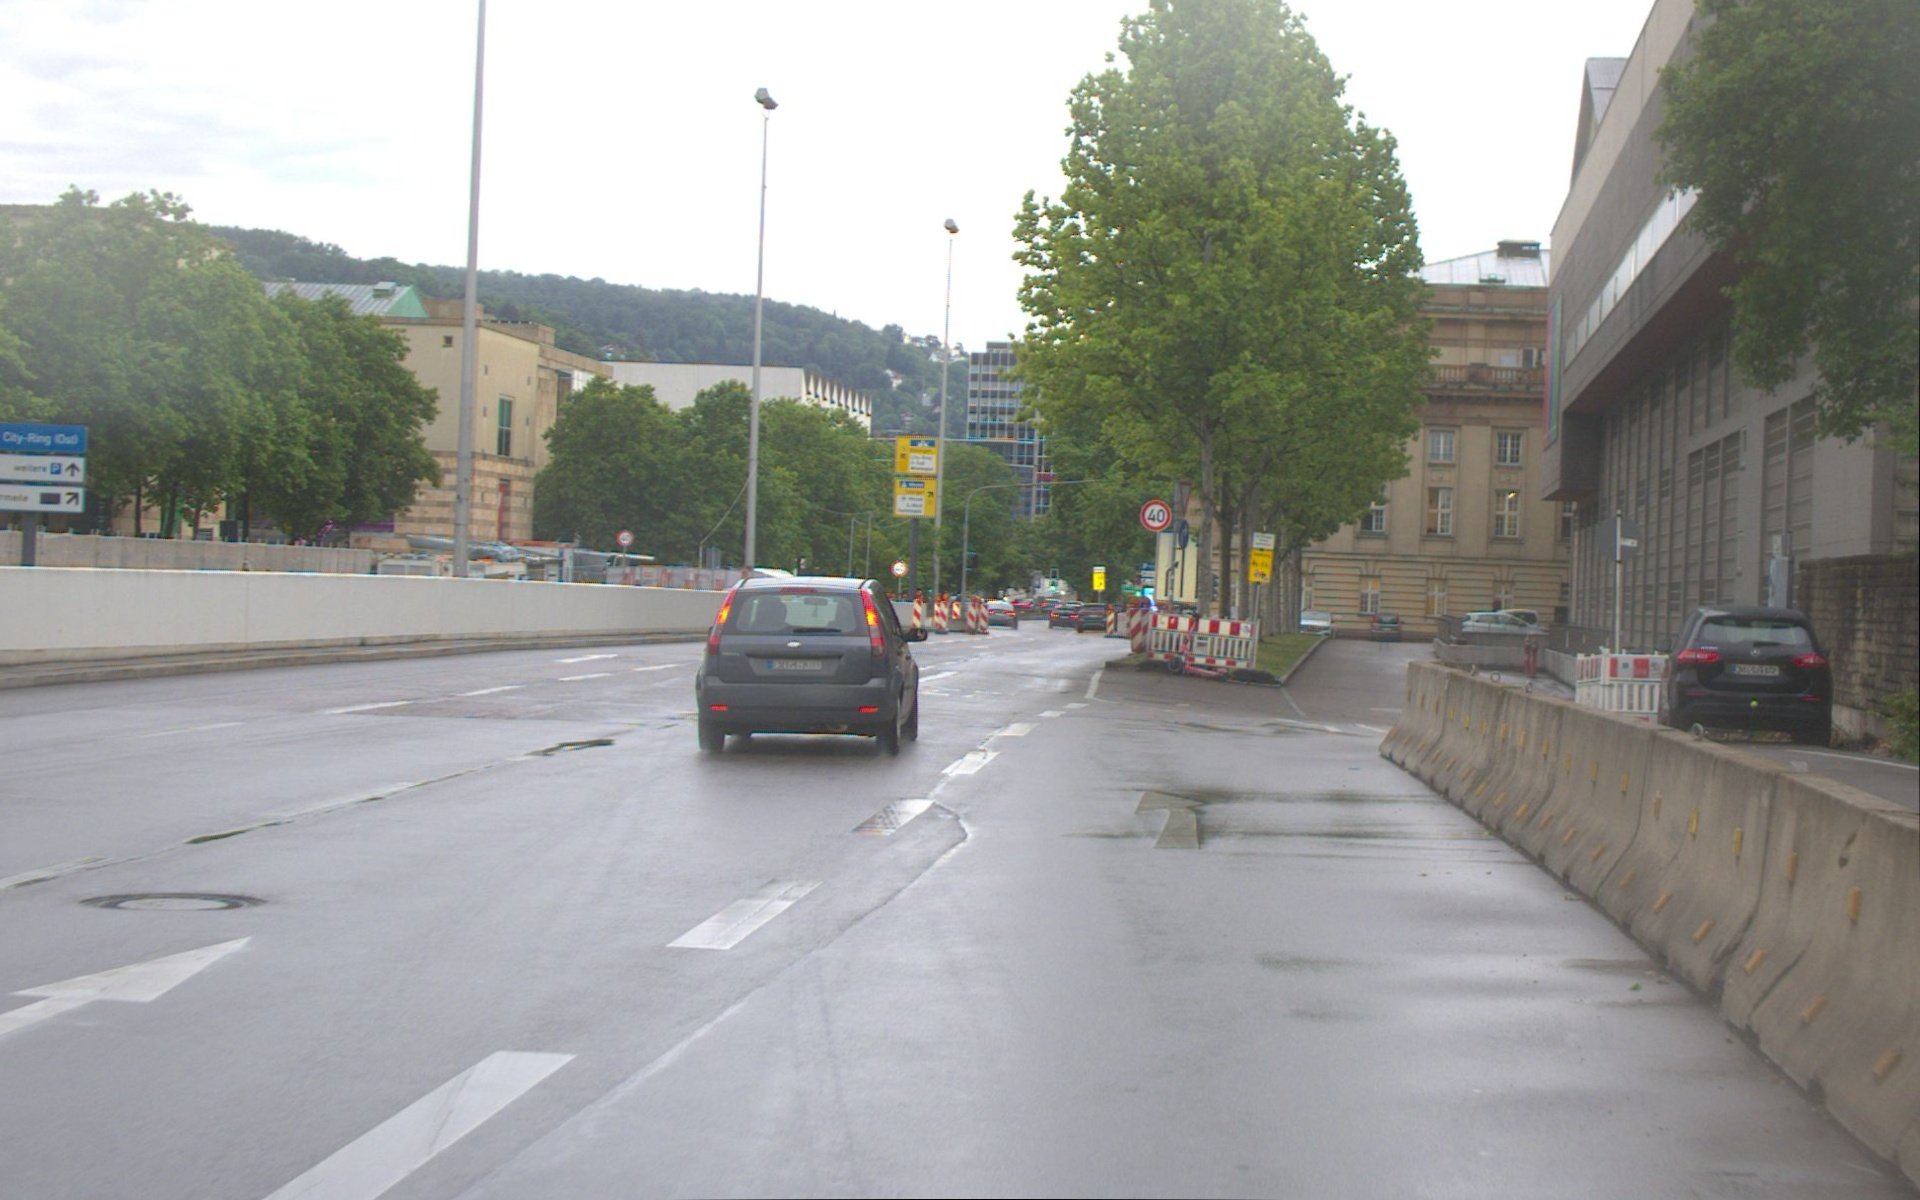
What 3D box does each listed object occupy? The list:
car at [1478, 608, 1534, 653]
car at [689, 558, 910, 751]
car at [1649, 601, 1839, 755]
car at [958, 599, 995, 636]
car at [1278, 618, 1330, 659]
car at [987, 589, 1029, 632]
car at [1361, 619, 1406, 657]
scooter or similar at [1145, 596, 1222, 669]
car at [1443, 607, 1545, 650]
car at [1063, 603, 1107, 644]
[{"bbox_3d":[23.326,1.320,147.042,1.994,1.754,5.095,2,-2,5],"label":"car"},{"bbox_3d":[-1.314,0.407,28.973,1.670,1.422,3.758,3,1,-1],"label":"car"},{"bbox_3d":[8.954,0.847,39.543,1.805,1.546,4.324,4,1,10],"label":"car"},{"bbox_3d":[0.662,0.689,136.093,1.385,1.382,3.067,2,-1,0],"label":"car"},{"bbox_3d":[15.472,1.717,154.530,1.994,1.703,3.998,4,0,9],"label":"car"},{"bbox_3d":[2.518,0.584,180.943,1.993,2.007,4.000,5,-2,0],"label":"car"},{"bbox_3d":[21.625,1.946,175.475,1.994,1.703,3.998,4,-1,9],"label":"car"},{"bbox_3d":[4.279,0.625,65.755,1.356,1.281,0.619,4,-2,6],"label":"scooter or similar"},{"bbox_3d":[21.609,1.165,139.237,3.988,1.554,1.932,1,-3,6],"label":"car"},{"bbox_3d":[6.547,1.210,179.641,1.994,2.007,3.999,4,0,5],"label":"car"}]
